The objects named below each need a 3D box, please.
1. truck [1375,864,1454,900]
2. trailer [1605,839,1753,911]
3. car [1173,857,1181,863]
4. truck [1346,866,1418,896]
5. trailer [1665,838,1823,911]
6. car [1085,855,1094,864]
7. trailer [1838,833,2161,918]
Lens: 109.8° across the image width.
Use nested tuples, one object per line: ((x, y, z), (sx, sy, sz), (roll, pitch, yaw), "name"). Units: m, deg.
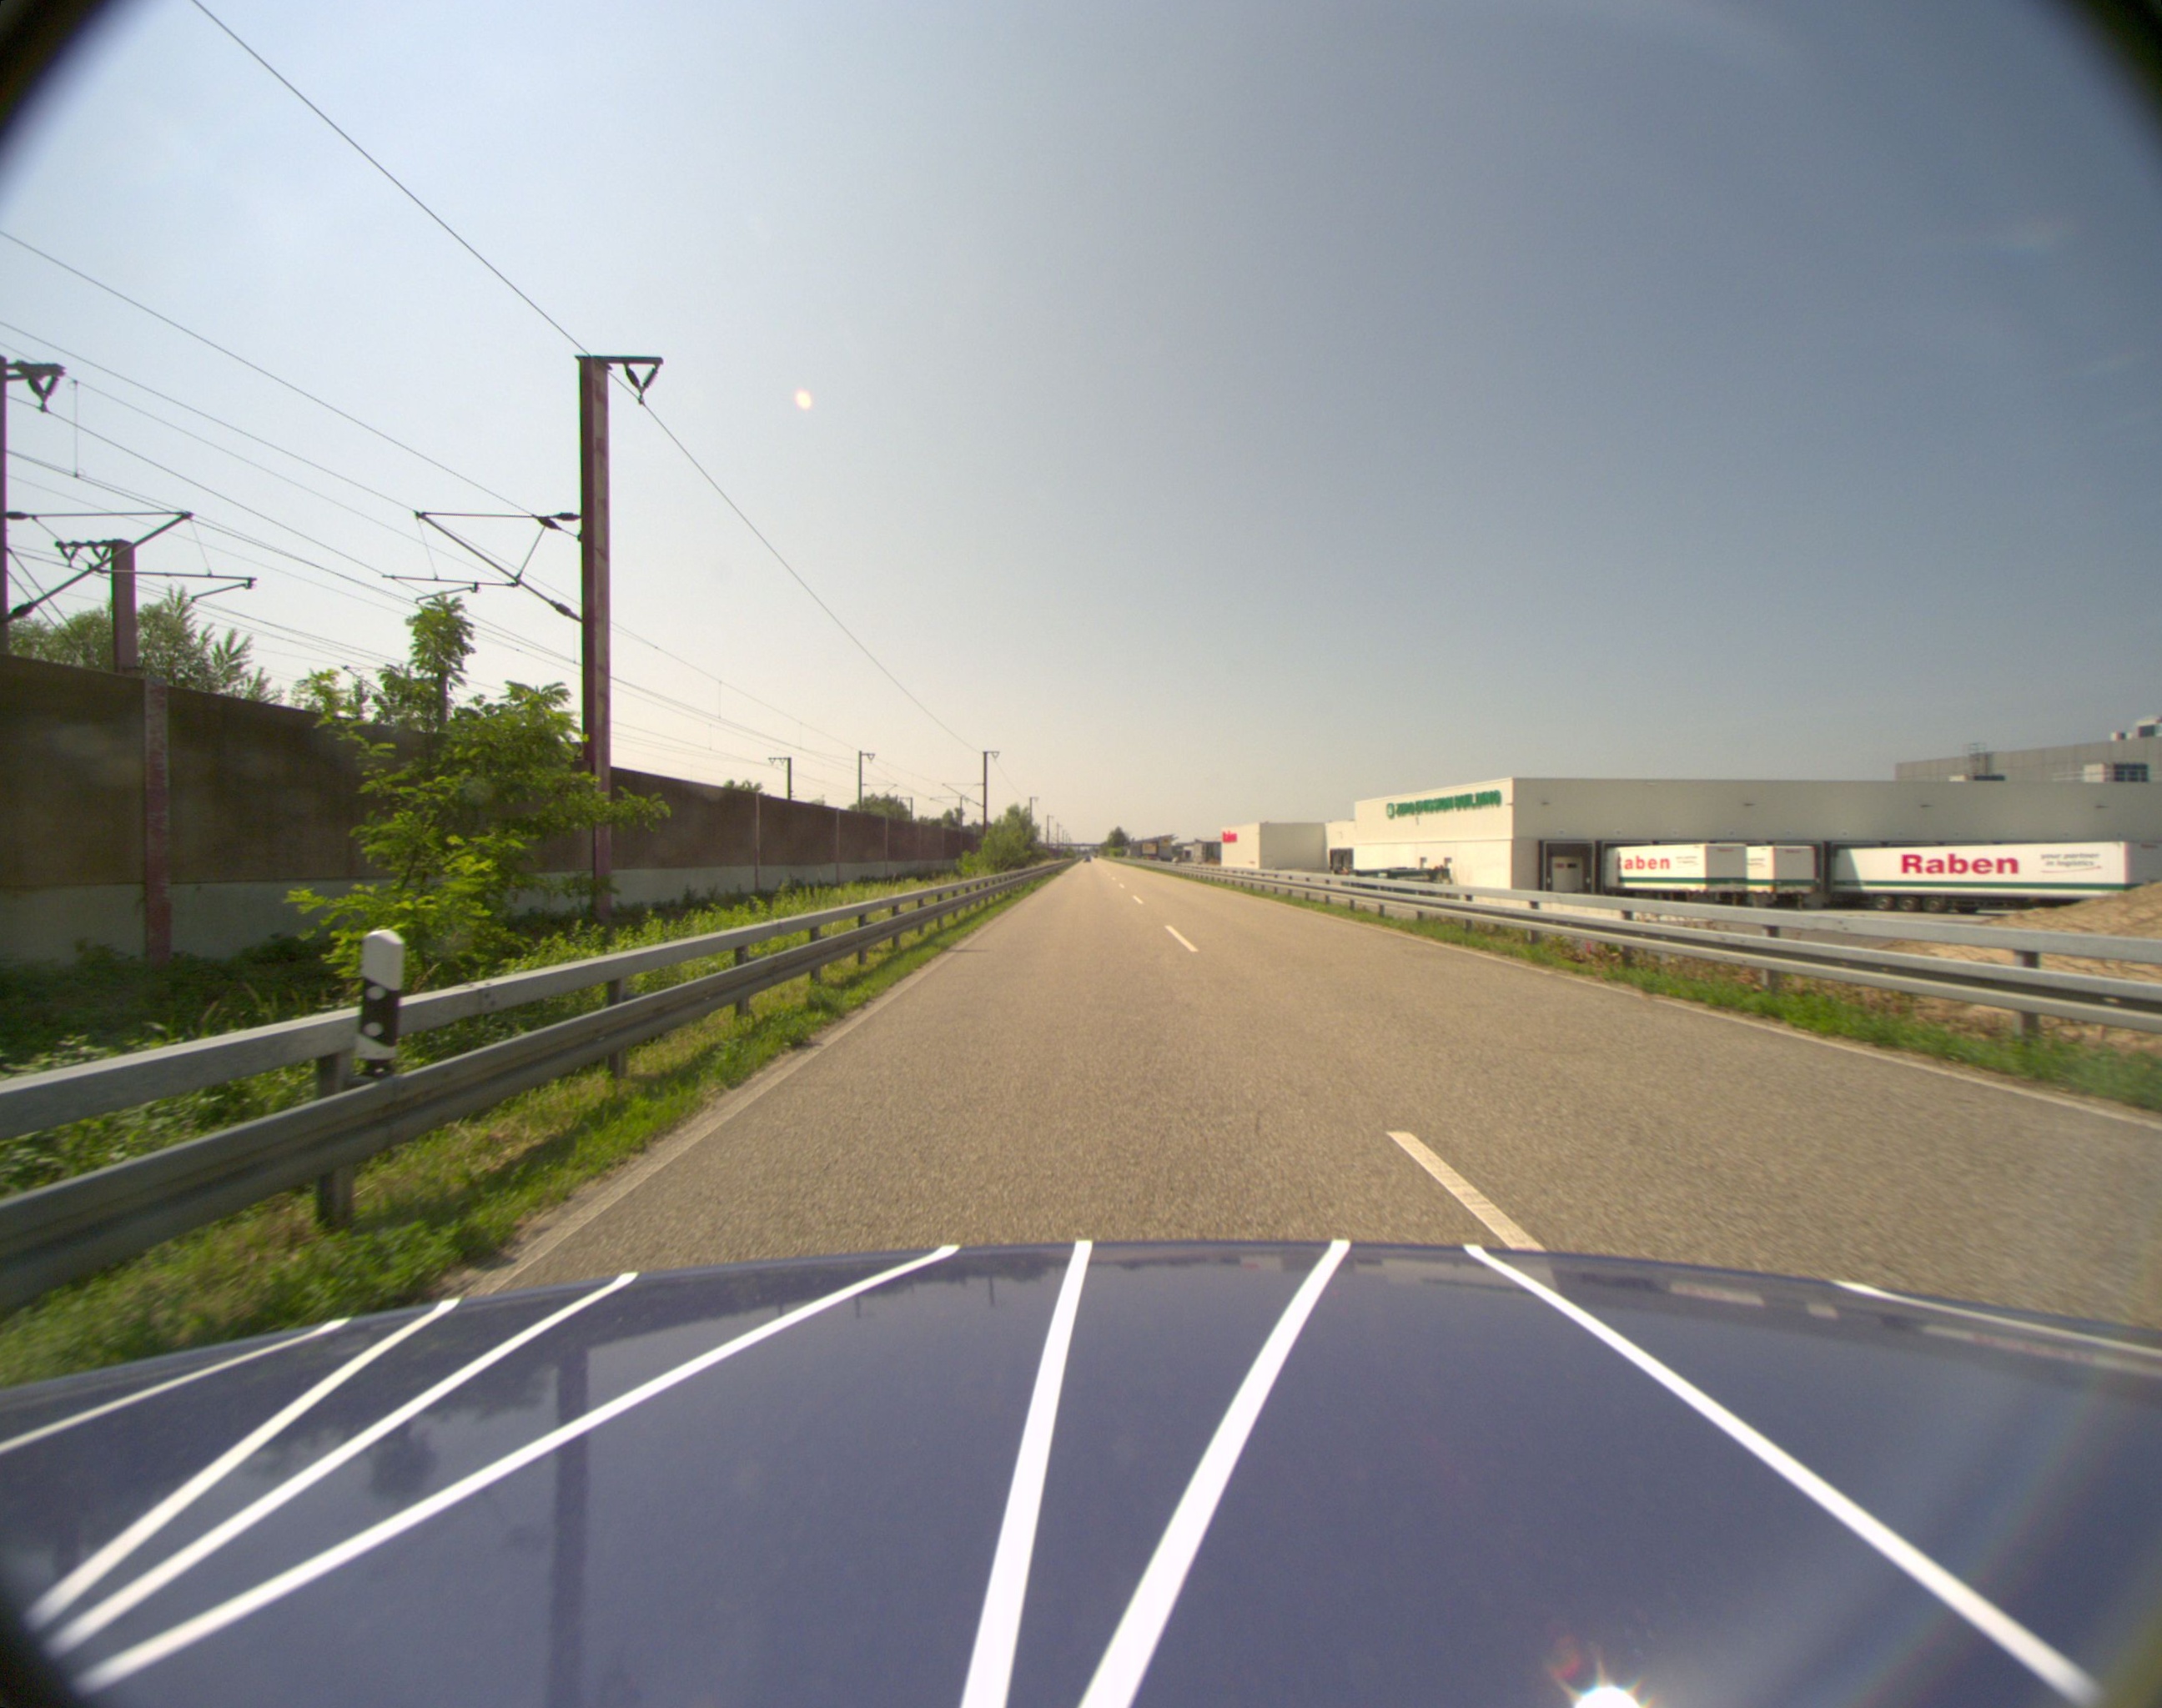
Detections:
((25.325, 2.090, 57.811), (5.058, 2.523, 2.272), (-1, 1, -2), "truck")
((36.279, 1.110, 46.565), (2.670, 3.965, 7.576), (-1, 1, -4), "trailer")
((28.629, 1.800, 226.783), (1.555, 1.664, 3.311), (0, 0, -4), "car")
((24.449, 2.162, 61.866), (5.021, 2.320, 2.232), (-1, 0, 1), "truck")
((40.450, 1.078, 46.793), (2.670, 4.069, 7.576), (-1, 1, -4), "trailer")
((2.105, 1.362, 181.823), (1.999, 2.002, 3.999), (-1, 0, -1), "car")
((52.551, 1.114, 44.354), (2.670, 4.179, 13.385), (-1, -1, -4), "trailer")
